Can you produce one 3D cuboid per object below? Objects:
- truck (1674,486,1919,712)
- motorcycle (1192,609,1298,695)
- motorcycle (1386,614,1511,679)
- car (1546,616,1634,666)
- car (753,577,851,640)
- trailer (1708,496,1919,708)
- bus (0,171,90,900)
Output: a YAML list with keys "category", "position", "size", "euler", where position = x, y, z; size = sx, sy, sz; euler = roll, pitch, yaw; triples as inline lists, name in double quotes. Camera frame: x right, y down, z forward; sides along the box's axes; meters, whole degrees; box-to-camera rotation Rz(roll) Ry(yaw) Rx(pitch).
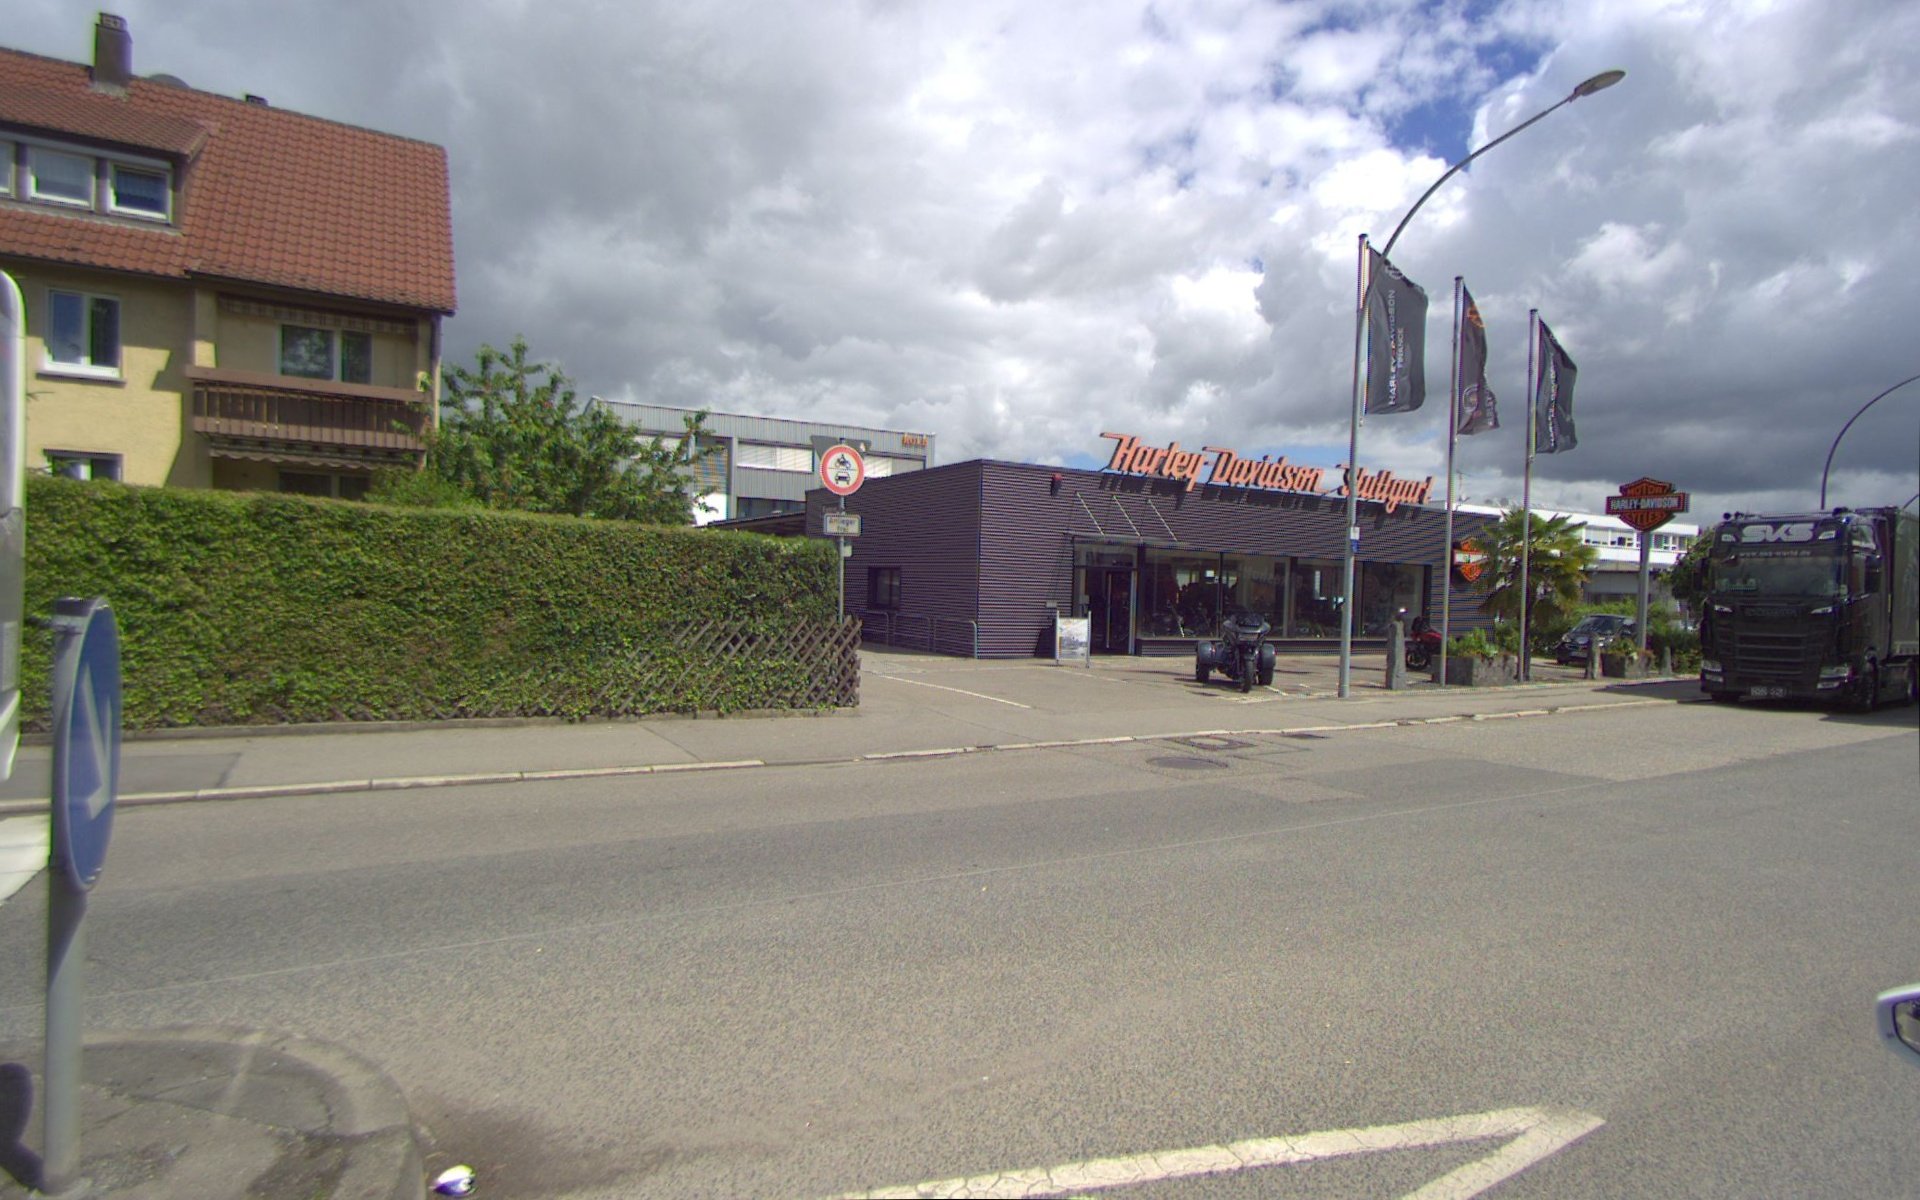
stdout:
- category: "truck"
  position: [18.059, 0.027, 21.370]
  size: [6.443, 4.107, 2.778]
  euler: [2, 1, -38]
- category: "motorcycle"
  position: [4.928, 0.861, 17.644]
  size: [1.436, 1.309, 2.454]
  euler: [3, 1, 9]
- category: "motorcycle"
  position: [11.352, 1.043, 23.445]
  size: [0.838, 1.323, 2.550]
  euler: [2, 1, -31]
- category: "car"
  position: [18.414, 1.201, 29.354]
  size: [2.656, 1.382, 1.039]
  euler: [2, 1, -30]
- category: "car"
  position: [-4.571, 0.175, 28.665]
  size: [1.871, 1.663, 3.977]
  euler: [-1, 2, -23]
- category: "trailer"
  position: [23.190, 0.217, 25.349]
  size: [15.416, 4.107, 2.777]
  euler: [2, 1, -38]
- category: "bus"
  position: [-9.254, -0.424, 1.122]
  size: [12.133, 3.071, 2.703]
  euler: [2, 0, -33]
